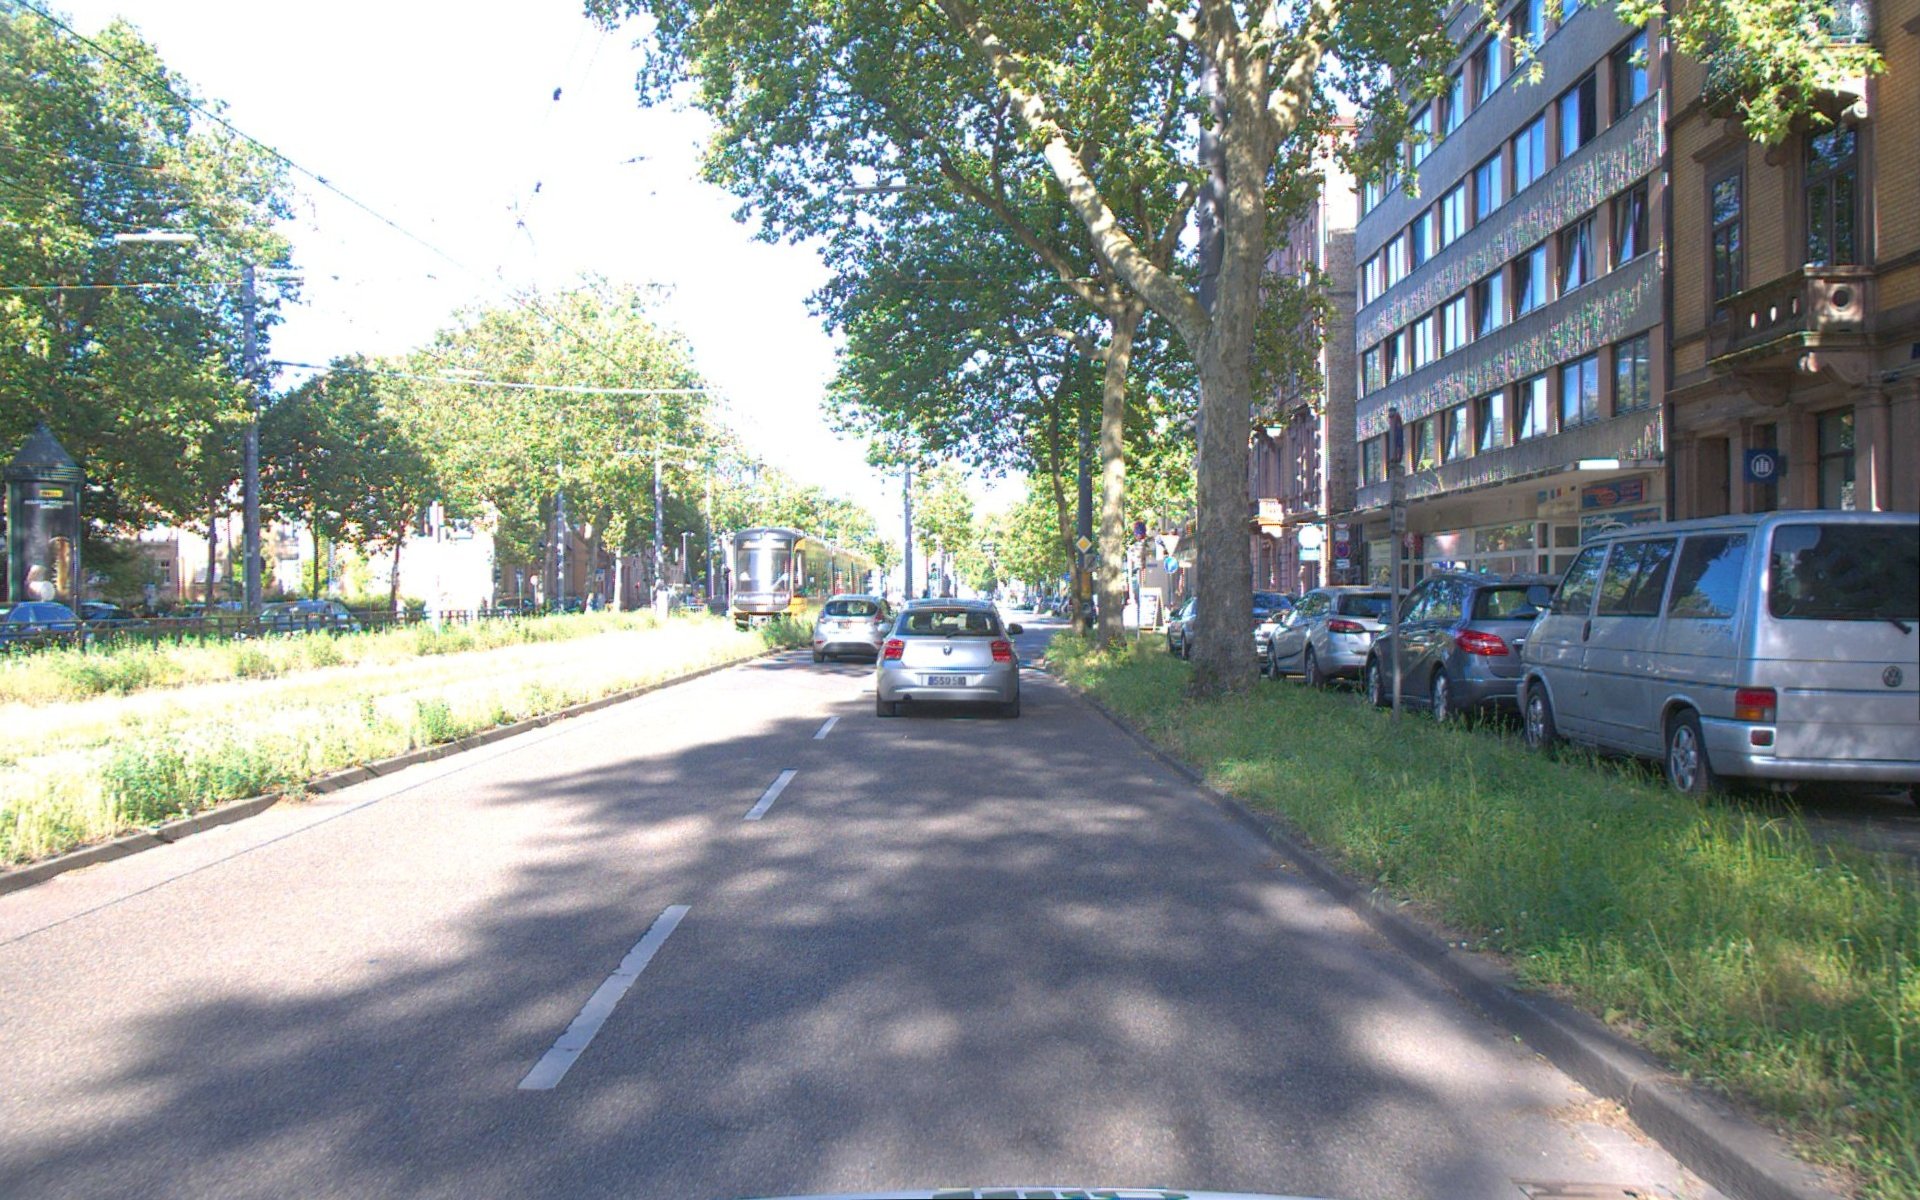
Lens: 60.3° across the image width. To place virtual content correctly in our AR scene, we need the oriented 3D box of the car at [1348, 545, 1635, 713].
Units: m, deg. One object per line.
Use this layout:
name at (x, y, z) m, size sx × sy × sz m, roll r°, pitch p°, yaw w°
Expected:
car at (5.485, 0.250, 17.655) m, size 1.669 × 1.528 × 4.358 m, roll 1°, pitch 1°, yaw 1°

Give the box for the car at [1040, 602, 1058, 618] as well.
car at (9.292, 1.007, 172.635) m, size 1.635 × 1.578 × 4.001 m, roll 1°, pitch 1°, yaw 1°

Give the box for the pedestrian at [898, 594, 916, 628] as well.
pedestrian at (-3.126, 0.652, 97.156) m, size 1.050 × 1.949 × 1.126 m, roll 0°, pitch -1°, yaw -1°

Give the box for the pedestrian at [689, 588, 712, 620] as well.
pedestrian at (-13.352, 0.209, 85.115) m, size 1.154 × 1.672 × 0.891 m, roll 0°, pitch 0°, yaw -7°

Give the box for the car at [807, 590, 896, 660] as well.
car at (-2.344, 0.512, 36.521) m, size 1.613 × 1.386 × 3.760 m, roll 1°, pitch 1°, yaw 1°

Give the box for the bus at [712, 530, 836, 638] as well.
bus at (-6.518, -0.540, 60.173) m, size 2.810 × 3.504 × 13.218 m, roll 0°, pitch 0°, yaw 1°

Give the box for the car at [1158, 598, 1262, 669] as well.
car at (5.696, 0.723, 38.123) m, size 1.666 × 1.449 × 4.517 m, roll 1°, pitch 1°, yaw 0°

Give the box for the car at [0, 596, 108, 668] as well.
car at (-17.425, 0.559, 29.727) m, size 1.654 × 1.154 × 4.708 m, roll 1°, pitch 1°, yaw 2°

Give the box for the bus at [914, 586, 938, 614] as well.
bus at (-4.682, -0.089, 229.312) m, size 2.693 × 3.689 × 18.849 m, roll 0°, pitch 1°, yaw 1°

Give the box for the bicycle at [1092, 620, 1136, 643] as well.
bicycle at (7.020, 1.442, 75.358) m, size 1.963 × 1.010 × 0.444 m, roll 1°, pitch 1°, yaw -2°

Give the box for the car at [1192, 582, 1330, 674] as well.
car at (5.490, 0.472, 30.704) m, size 1.768 × 1.516 × 4.920 m, roll 1°, pitch 0°, yaw 2°

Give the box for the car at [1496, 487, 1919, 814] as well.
car at (5.503, 0.266, 11.867) m, size 1.826 × 1.847 × 4.801 m, roll 1°, pitch 1°, yaw 1°

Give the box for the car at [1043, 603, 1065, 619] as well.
car at (9.494, 1.141, 167.156) m, size 1.952 × 1.535 × 4.598 m, roll 1°, pitch 0°, yaw 1°

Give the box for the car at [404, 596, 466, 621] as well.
car at (-26.108, 0.402, 82.356) m, size 1.755 × 1.199 × 4.000 m, roll 1°, pitch 0°, yaw 0°

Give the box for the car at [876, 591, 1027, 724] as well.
car at (-0.103, 0.654, 21.189) m, size 1.726 × 1.457 × 4.000 m, roll 1°, pitch 1°, yaw 0°

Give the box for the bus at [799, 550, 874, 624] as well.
bus at (-6.221, -0.647, 84.841) m, size 2.810 × 3.504 × 11.612 m, roll 0°, pitch 0°, yaw 1°

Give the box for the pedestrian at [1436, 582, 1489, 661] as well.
pedestrian at (11.646, 0.494, 38.380) m, size 0.979 × 1.791 × 0.715 m, roll 1°, pitch 1°, yaw 1°

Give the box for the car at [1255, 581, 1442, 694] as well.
car at (5.664, 0.503, 24.682) m, size 1.643 × 1.492 × 4.669 m, roll 1°, pitch 0°, yaw 0°

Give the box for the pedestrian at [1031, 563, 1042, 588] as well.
pedestrian at (6.416, -2.062, 138.907) m, size 0.820 × 2.049 × 0.649 m, roll 1°, pitch 1°, yaw 7°

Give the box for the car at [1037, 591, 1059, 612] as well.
car at (7.490, 0.101, 141.556) m, size 1.657 × 1.687 × 4.040 m, roll 0°, pitch 1°, yaw 0°

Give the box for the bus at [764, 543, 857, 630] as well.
bus at (-6.401, -0.556, 72.884) m, size 2.810 × 3.504 × 12.216 m, roll 0°, pitch 0°, yaw 1°

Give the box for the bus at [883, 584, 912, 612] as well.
bus at (-8.655, -0.319, 232.120) m, size 2.810 × 3.692 × 24.606 m, roll 0°, pitch 1°, yaw 1°

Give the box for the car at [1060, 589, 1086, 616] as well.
car at (8.555, 0.188, 125.552) m, size 1.718 × 1.999 × 4.737 m, roll 0°, pitch 1°, yaw 0°

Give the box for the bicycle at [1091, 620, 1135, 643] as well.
bicycle at (7.007, 1.436, 75.870) m, size 1.973 × 1.010 × 0.444 m, roll 1°, pitch 1°, yaw -2°

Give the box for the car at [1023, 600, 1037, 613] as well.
car at (9.065, 0.798, 214.401) m, size 1.665 × 1.561 × 3.717 m, roll 1°, pitch 1°, yaw 1°

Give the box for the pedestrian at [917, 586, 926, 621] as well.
pedestrian at (-2.158, 0.184, 92.667) m, size 0.442 × 1.936 × 0.584 m, roll 0°, pitch 0°, yaw -7°

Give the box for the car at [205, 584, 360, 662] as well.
car at (-15.164, 0.470, 37.253) m, size 1.757 × 1.579 × 4.048 m, roll 1°, pitch 1°, yaw 1°
